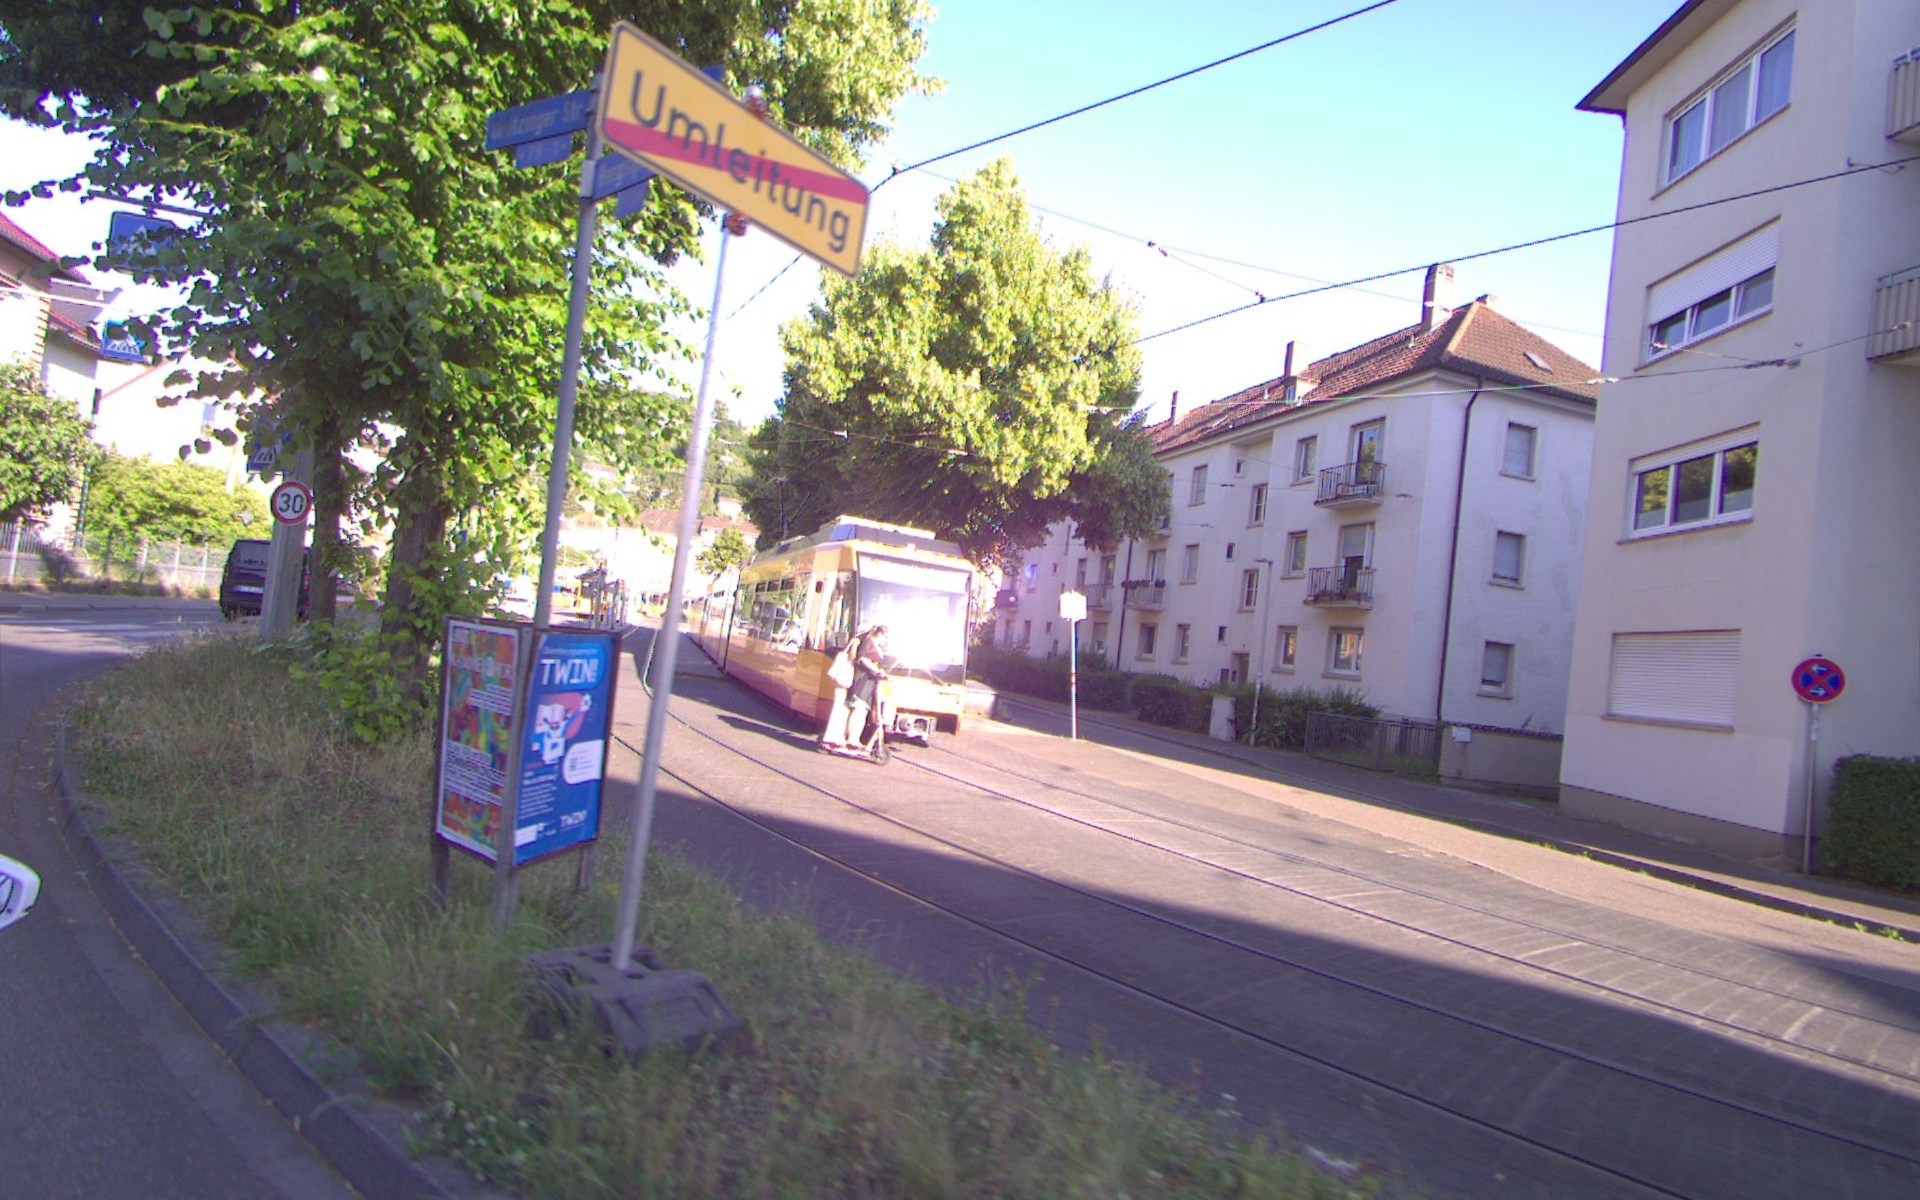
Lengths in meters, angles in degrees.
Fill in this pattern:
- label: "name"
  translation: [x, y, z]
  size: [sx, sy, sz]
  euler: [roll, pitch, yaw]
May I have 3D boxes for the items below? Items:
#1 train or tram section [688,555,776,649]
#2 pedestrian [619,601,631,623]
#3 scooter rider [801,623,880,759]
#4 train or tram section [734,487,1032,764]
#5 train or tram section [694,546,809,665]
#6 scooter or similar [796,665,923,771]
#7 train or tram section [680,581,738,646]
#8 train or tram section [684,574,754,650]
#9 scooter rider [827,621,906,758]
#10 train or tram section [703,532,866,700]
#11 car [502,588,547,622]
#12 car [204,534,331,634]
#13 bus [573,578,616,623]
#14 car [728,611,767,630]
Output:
- label: "train or tram section"
  translation: [-10.888, 0.121, 47.201]
  size: [2.744, 3.596, 9.887]
  euler: [7, -2, -18]
- label: "pedestrian"
  translation: [-27.786, 0.998, 83.370]
  size: [0.542, 1.787, 0.545]
  euler: [6, -2, 21]
- label: "scooter rider"
  translation: [-1.585, 1.200, 13.382]
  size: [0.597, 1.692, 0.654]
  euler: [6, -1, 27]
- label: "train or tram section"
  translation: [-2.070, 0.424, 18.925]
  size: [2.745, 3.596, 9.883]
  euler: [8, -2, -19]
- label: "train or tram section"
  translation: [-8.057, 0.223, 37.744]
  size: [2.744, 3.596, 9.887]
  euler: [7, -2, -18]
- label: "scooter or similar"
  translation: [-1.317, 1.528, 13.219]
  size: [1.381, 1.150, 0.685]
  euler: [7, -1, 26]
- label: "train or tram section"
  translation: [-16.633, 0.854, 66.151]
  size: [2.744, 3.596, 9.889]
  euler: [7, -2, -17]
- label: "train or tram section"
  translation: [-13.756, 0.646, 56.699]
  size: [2.744, 3.596, 9.889]
  euler: [7, -2, -17]
- label: "scooter rider"
  translation: [-1.218, 1.168, 13.192]
  size: [0.597, 1.692, 0.654]
  euler: [6, -1, 27]
- label: "train or tram section"
  translation: [-5.265, 0.424, 28.274]
  size: [2.744, 3.596, 9.887]
  euler: [7, -2, -18]
- label: "car"
  translation: [-26.584, 0.303, 61.298]
  size: [1.978, 1.736, 3.974]
  euler: [8, -4, -29]
- label: "car"
  translation: [-17.057, -0.375, 24.997]
  size: [1.979, 2.036, 3.973]
  euler: [9, -3, -29]
- label: "bus"
  translation: [-31.652, 0.171, 87.444]
  size: [2.673, 3.327, 10.185]
  euler: [7, -3, -17]
- label: "car"
  translation: [-30.287, 2.930, 143.186]
  size: [5.147, 2.036, 1.997]
  euler: [8, -3, -14]
